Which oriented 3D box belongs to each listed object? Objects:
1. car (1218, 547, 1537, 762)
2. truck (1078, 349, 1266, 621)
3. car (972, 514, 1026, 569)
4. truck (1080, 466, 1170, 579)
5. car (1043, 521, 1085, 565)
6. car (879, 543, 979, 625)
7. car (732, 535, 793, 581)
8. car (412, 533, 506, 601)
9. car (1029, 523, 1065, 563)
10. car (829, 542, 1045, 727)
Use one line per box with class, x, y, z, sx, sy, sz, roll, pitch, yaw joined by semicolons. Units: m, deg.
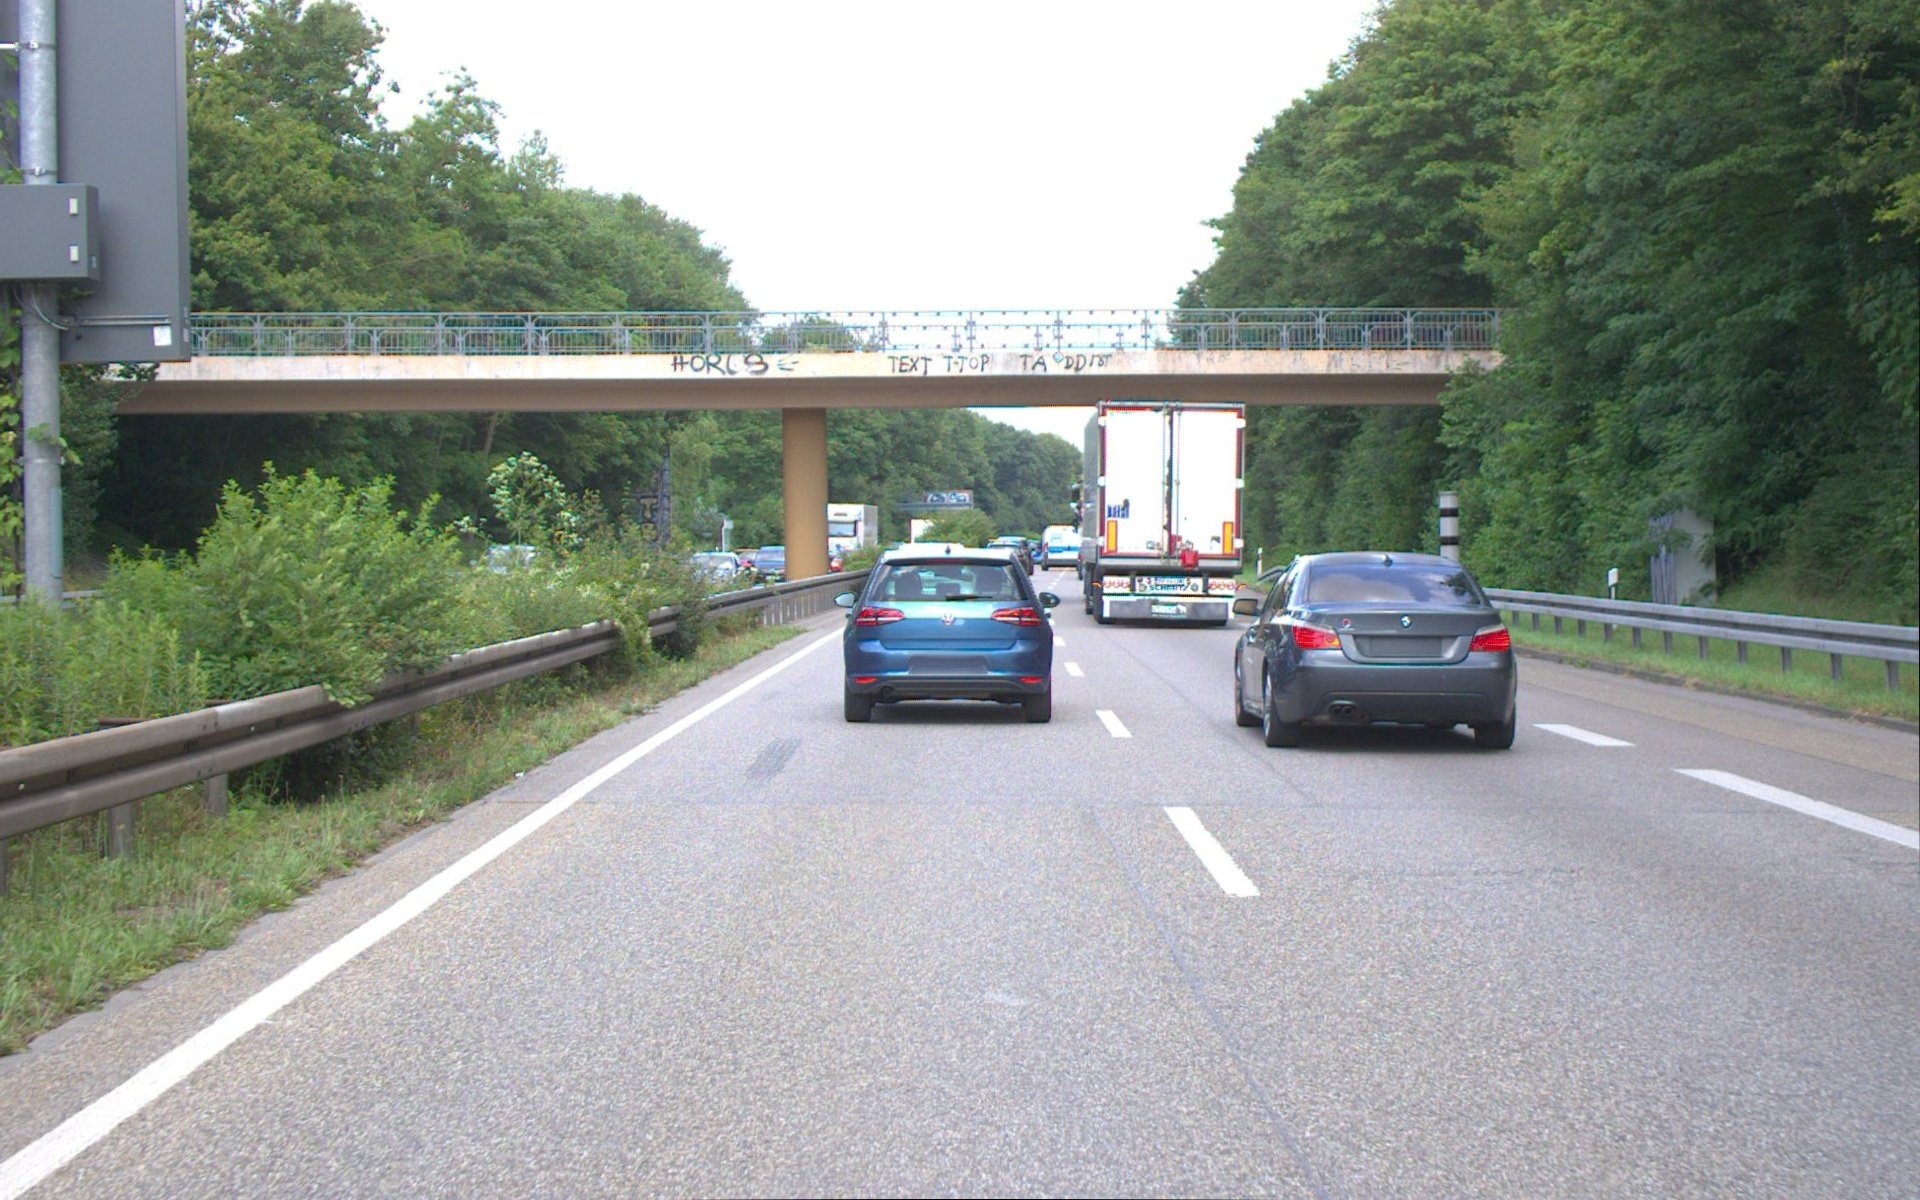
car;3.118;0.347;26.576;1.774;1.470;4.881;1;1;-1
truck;3.928;-2.117;65.487;3.242;4.700;11.006;0;1;2
car;1.503;-2.205;129.773;1.954;2.007;4.000;-1;1;1
truck;6.633;-3.085;140.315;3.232;4.371;12.970;1;0;1
car;5.339;-2.957;177.388;1.993;2.247;4.442;0;1;0
car;-0.560;-0.325;65.159;1.665;1.495;4.152;1;1;3
car;-7.024;-1.520;122.547;1.865;1.583;4.565;-1;1;0
car;-13.154;-0.891;90.523;1.786;1.732;4.881;-1;1;0
car;5.108;-3.352;202.972;1.993;2.319;4.442;-1;1;0
car;-0.140;0.244;29.837;1.705;1.465;4.000;1;1;2
